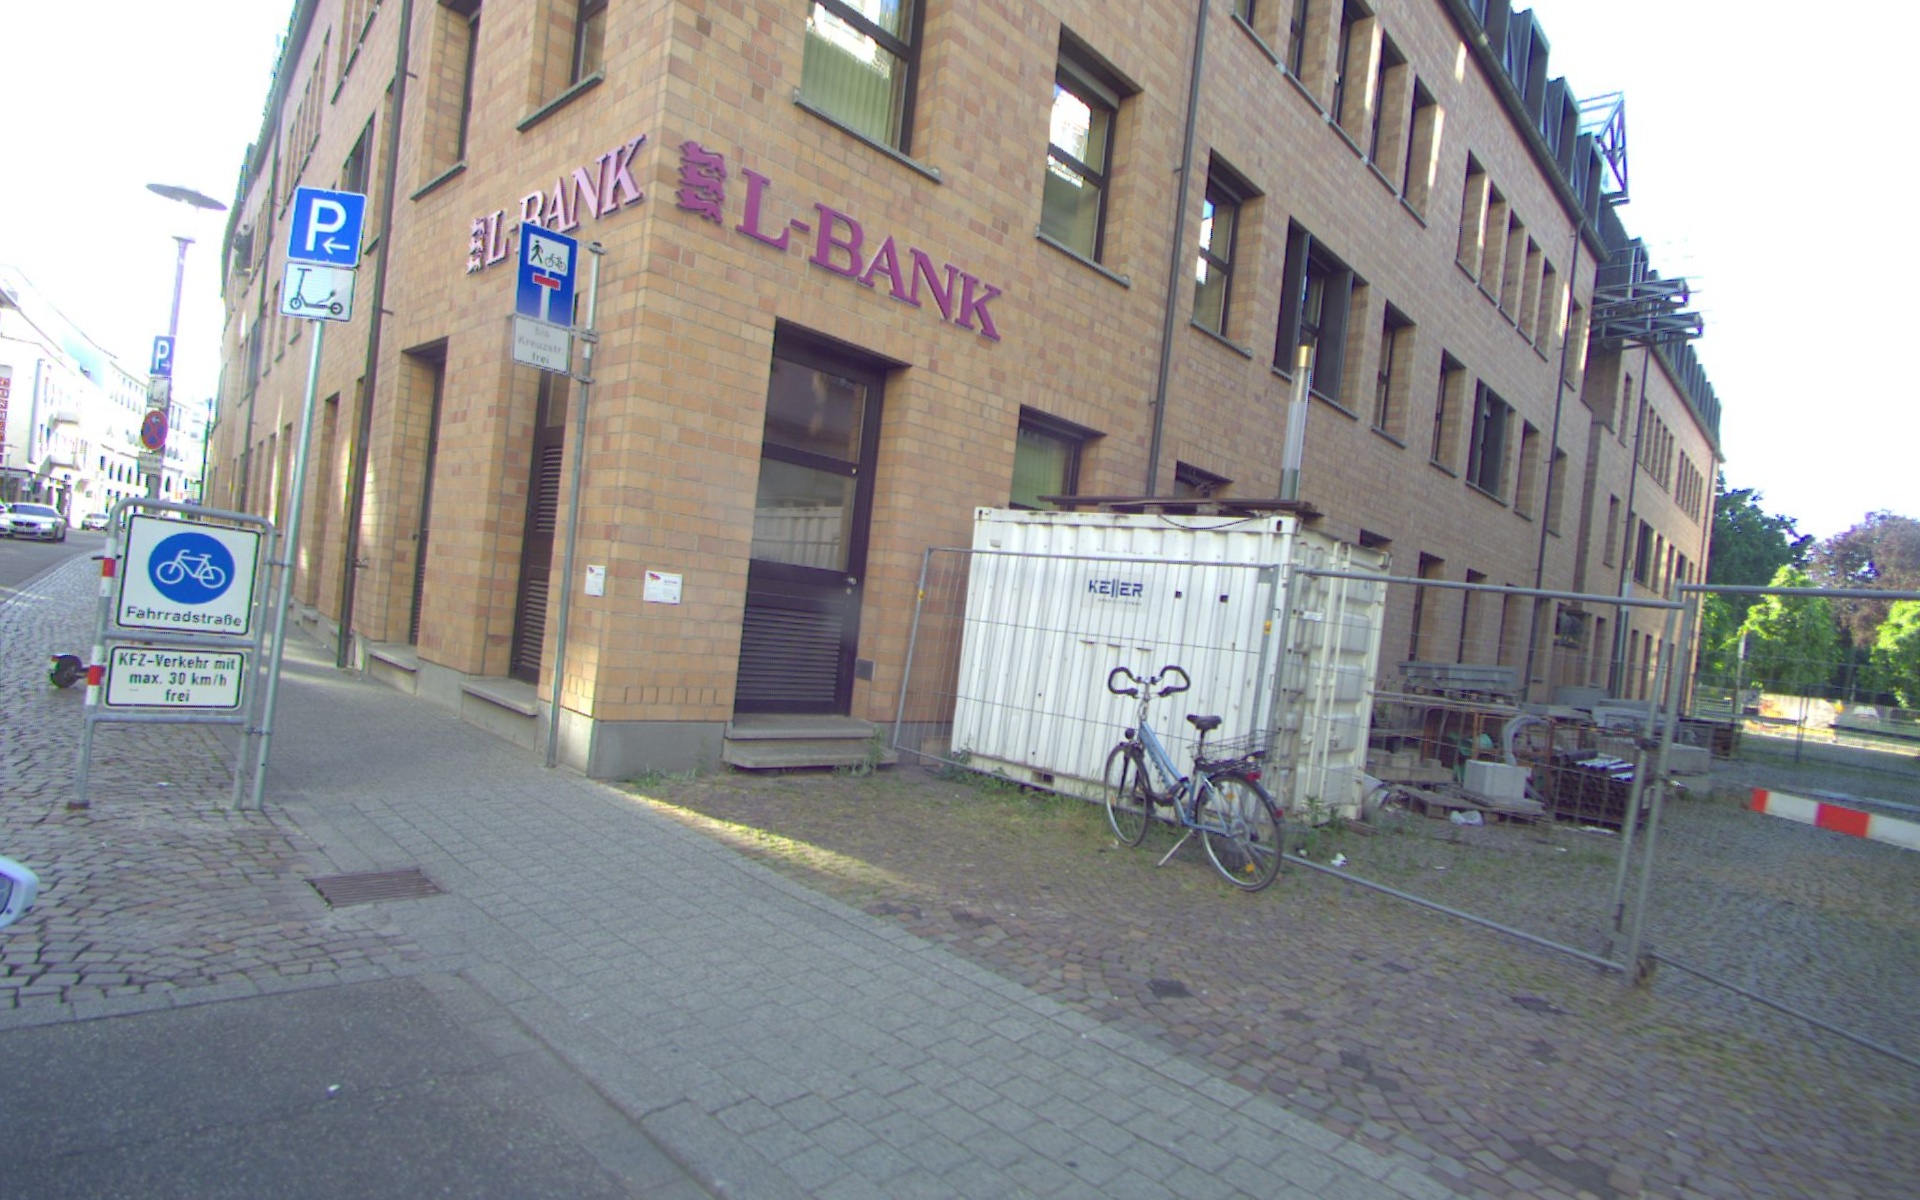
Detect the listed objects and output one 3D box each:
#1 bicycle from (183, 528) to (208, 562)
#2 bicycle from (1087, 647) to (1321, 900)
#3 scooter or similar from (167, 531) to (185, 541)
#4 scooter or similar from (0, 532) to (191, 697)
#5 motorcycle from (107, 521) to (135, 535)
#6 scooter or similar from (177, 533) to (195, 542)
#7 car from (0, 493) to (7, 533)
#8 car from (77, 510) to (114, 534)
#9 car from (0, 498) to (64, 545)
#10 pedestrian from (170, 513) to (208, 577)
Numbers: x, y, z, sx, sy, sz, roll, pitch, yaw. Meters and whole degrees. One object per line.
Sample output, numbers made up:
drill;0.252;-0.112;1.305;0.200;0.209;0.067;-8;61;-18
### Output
bicycle;-26.824;-1.934;35.290;0.547;1.118;1.959;2;3;-42
bicycle;1.456;1.002;6.299;0.316;1.265;1.571;6;0;-29
scooter or similar;-91.456;-7.482;117.373;0.517;0.939;2.226;7;-1;-6
scooter or similar;-7.504;0.123;8.688;0.529;1.250;1.418;7;0;-2
motorcycle;-72.974;-6.250;87.493;1.680;0.869;0.590;9;-2;-32
scooter or similar;-93.628;-7.578;121.755;0.517;0.939;2.226;7;-1;-6
car;-43.141;-3.911;43.886;1.881;1.764;4.342;6;0;-40
car;-69.515;-6.292;80.933;1.727;1.625;3.499;8;-1;-35
car;-36.456;-3.082;39.443;1.706;1.536;4.114;6;0;-39
pedestrian;-21.717;-1.551;28.340;0.756;1.739;0.812;3;2;-40
